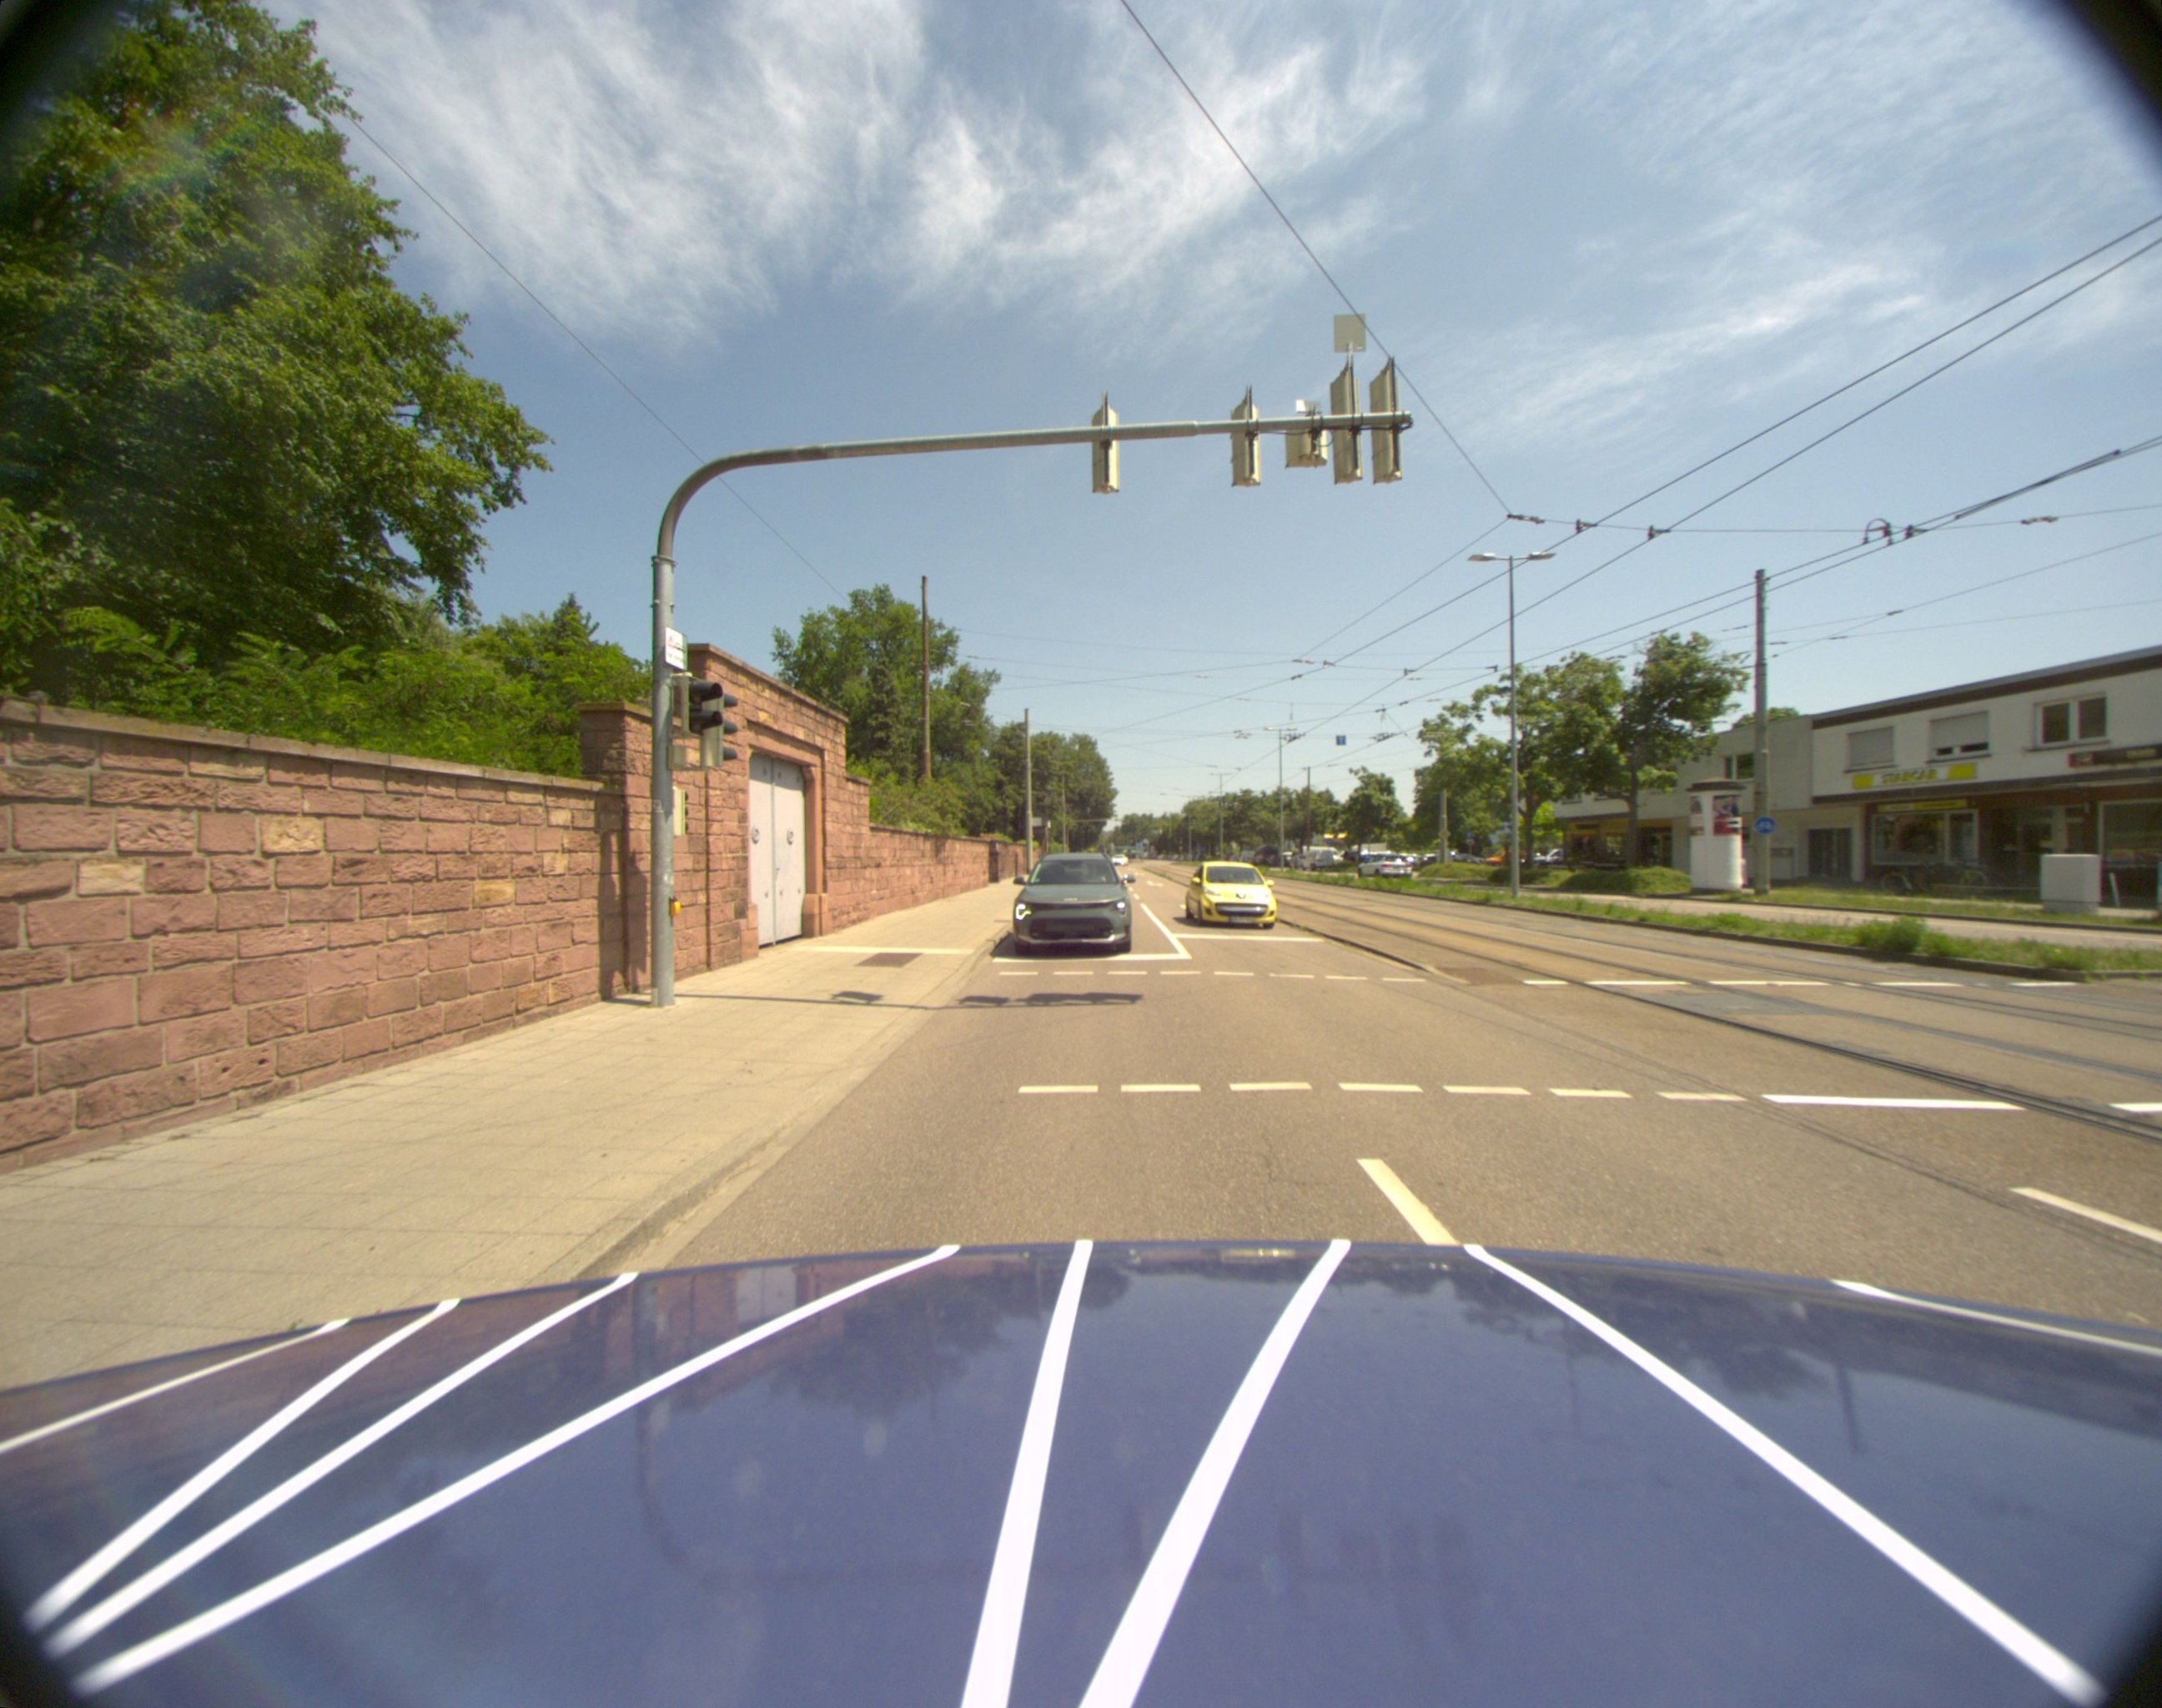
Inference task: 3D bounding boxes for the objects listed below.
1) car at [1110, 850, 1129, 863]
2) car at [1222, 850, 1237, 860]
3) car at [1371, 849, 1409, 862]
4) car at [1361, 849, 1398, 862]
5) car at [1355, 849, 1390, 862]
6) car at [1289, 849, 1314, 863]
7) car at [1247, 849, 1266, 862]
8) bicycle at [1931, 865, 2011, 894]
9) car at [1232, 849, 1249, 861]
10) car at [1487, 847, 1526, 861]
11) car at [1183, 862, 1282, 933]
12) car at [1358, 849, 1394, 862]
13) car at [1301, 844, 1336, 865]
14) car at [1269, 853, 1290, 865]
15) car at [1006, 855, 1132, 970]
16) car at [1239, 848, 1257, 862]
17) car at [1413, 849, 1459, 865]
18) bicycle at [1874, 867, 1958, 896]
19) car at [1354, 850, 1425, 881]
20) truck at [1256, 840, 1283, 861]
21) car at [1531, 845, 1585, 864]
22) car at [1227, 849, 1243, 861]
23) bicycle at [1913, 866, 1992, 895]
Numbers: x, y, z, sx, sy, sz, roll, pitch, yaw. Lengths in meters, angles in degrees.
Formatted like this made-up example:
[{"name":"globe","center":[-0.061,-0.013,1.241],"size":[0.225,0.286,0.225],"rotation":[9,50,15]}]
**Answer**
[{"name":"car","center":[5.075,0.346,100.096],"size":[1.997,1.652,4.003],"rotation":[0,1,10]},{"name":"car","center":[24.367,0.142,124.797],"size":[1.681,1.693,3.824],"rotation":[0,0,1]},{"name":"car","center":[32.891,0.114,80.836],"size":[3.414,1.386,1.603],"rotation":[0,1,-3]},{"name":"car","center":[32.710,0.168,83.251],"size":[3.414,1.386,1.603],"rotation":[0,1,-3]},{"name":"car","center":[33.990,0.114,88.688],"size":[3.414,1.497,1.603],"rotation":[0,1,-3]},{"name":"car","center":[22.526,0.230,77.730],"size":[1.674,1.378,3.569],"rotation":[0,0,4]},{"name":"car","center":[23.595,0.192,102.155],"size":[1.681,1.783,3.869],"rotation":[0,0,1]},{"name":"bicycle","center":[28.836,0.808,24.665],"size":[0.529,0.843,1.787],"rotation":[-3,1,2]},{"name":"car","center":[23.685,0.147,113.103],"size":[1.681,1.783,4.203],"rotation":[0,0,1]},{"name":"car","center":[46.262,0.014,82.627],"size":[3.354,1.552,1.506],"rotation":[0,1,-1]},{"name":"car","center":[3.409,0.932,17.688],"size":[1.620,1.412,3.656],"rotation":[2,-1,1]},{"name":"car","center":[33.333,0.140,85.953],"size":[3.414,1.386,1.603],"rotation":[0,1,-3]},{"name":"car","center":[22.249,0.042,71.271],"size":[1.998,1.872,4.662],"rotation":[0,0,2]},{"name":"car","center":[22.908,0.559,87.688],"size":[1.674,1.378,3.670],"rotation":[0,0,4]},{"name":"car","center":[-0.083,0.844,13.028],"size":[1.789,1.561,4.184],"rotation":[-1,1,2]},{"name":"car","center":[23.650,0.131,107.549],"size":[1.681,1.963,4.509],"rotation":[0,0,1]},{"name":"car","center":[32.992,0.256,70.684],"size":[3.414,1.482,1.793],"rotation":[0,1,-3]},{"name":"bicycle","center":[27.113,0.868,24.727],"size":[0.603,0.843,1.959],"rotation":[-3,1,2]},{"name":"car","center":[16.618,0.574,41.166],"size":[1.999,1.544,4.138],"rotation":[2,0,-2]},{"name":"truck","center":[23.203,-0.390,93.752],"size":[2.225,2.526,4.929],"rotation":[0,1,2]},{"name":"car","center":[45.425,0.062,72.430],"size":[3.997,1.774,1.813],"rotation":[0,1,-1]},{"name":"car","center":[23.981,0.122,118.150],"size":[1.681,1.783,4.203],"rotation":[0,0,1]},{"name":"bicycle","center":[28.279,0.840,24.687],"size":[0.529,0.843,1.787],"rotation":[-3,1,2]}]
